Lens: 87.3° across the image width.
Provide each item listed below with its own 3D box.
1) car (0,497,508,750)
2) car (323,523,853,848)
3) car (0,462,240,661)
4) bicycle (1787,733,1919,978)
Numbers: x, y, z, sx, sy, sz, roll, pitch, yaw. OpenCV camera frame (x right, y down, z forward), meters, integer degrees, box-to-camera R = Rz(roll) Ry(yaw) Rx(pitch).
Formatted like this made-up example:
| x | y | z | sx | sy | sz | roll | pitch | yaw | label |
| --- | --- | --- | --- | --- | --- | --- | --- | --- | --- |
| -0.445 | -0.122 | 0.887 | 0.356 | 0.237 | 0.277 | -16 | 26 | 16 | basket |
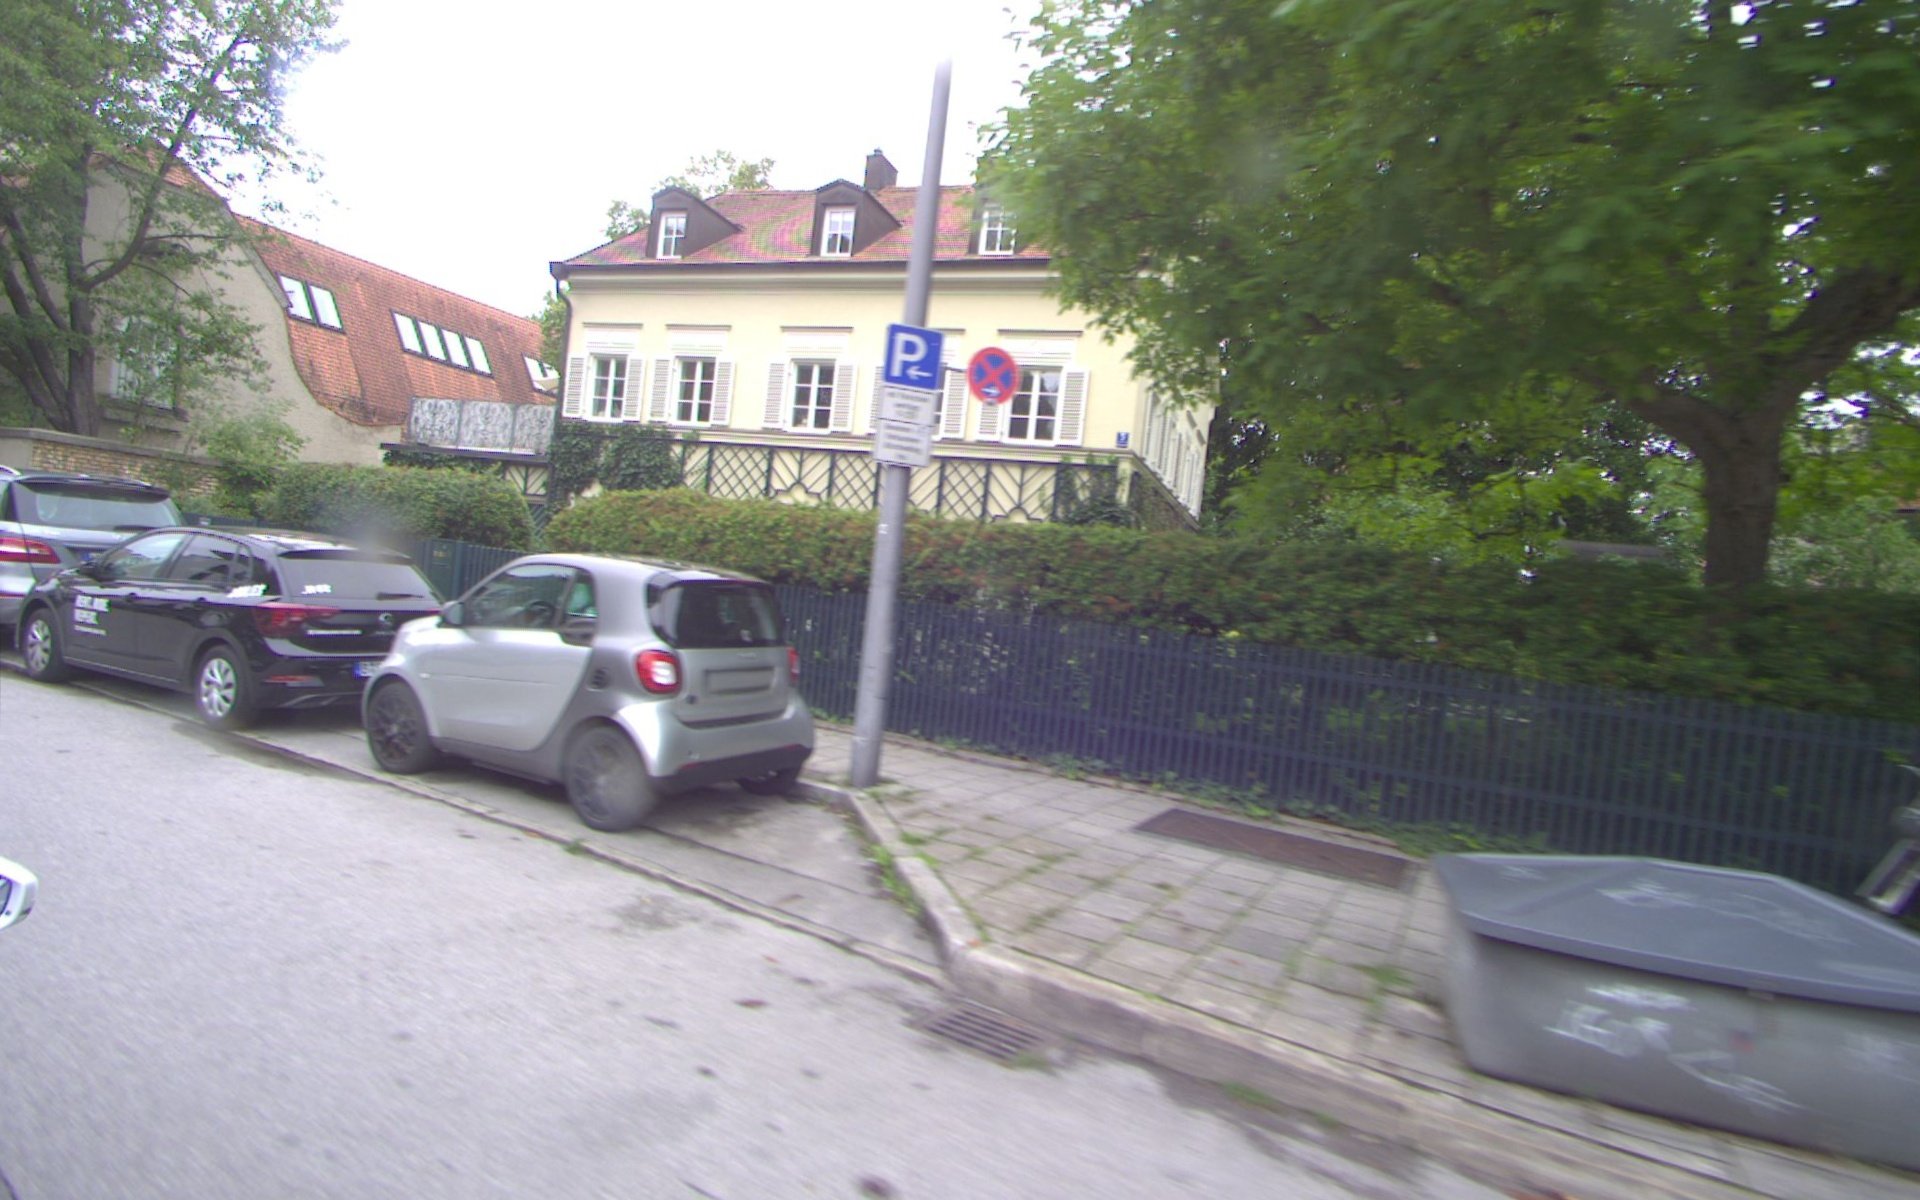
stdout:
| x | y | z | sx | sy | sz | roll | pitch | yaw | label |
| --- | --- | --- | --- | --- | --- | --- | --- | --- | --- |
| -6.123 | 0.089 | 8.538 | 4.147 | 1.446 | 1.880 | 7 | 2 | 26 | car |
| -2.469 | 0.432 | 6.770 | 2.894 | 1.556 | 1.741 | 6 | 2 | 26 | car |
| -10.131 | -0.578 | 10.619 | 4.797 | 1.734 | 1.996 | 7 | 2 | 26 | car |
| 5.799 | 1.486 | 5.326 | 1.939 | 1.177 | 0.807 | 8 | 2 | 28 | bicycle |
